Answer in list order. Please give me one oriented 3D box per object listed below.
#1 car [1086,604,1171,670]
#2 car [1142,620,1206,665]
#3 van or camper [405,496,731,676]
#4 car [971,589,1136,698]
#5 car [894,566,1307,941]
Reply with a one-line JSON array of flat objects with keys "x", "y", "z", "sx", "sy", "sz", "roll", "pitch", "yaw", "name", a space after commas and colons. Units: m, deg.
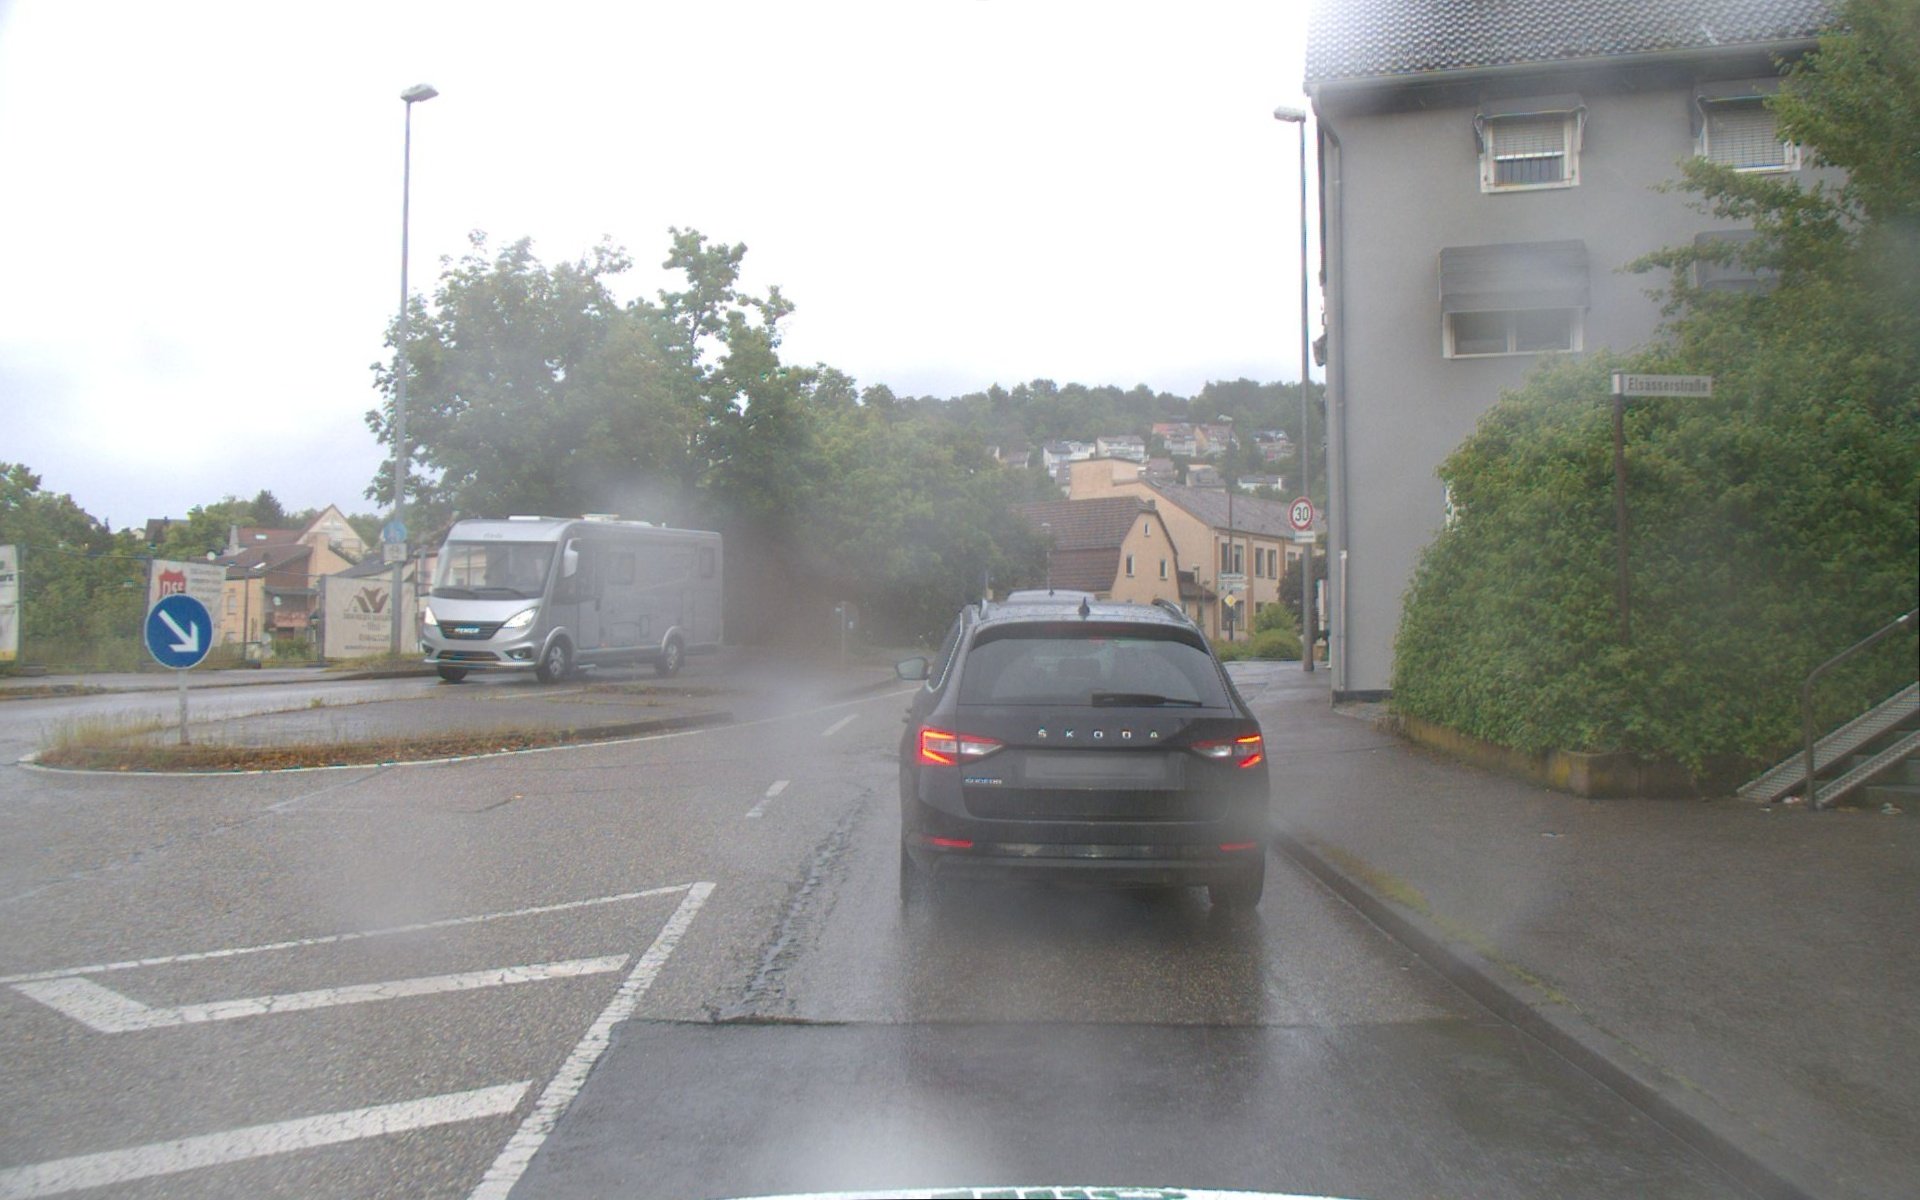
[{"x": 3.942, "y": 0.812, "z": 38.245, "sx": 1.617, "sy": 1.411, "sz": 3.923, "roll": 1, "pitch": 0, "yaw": 11, "name": "car"}, {"x": 8.136, "y": 1.594, "z": 63.068, "sx": 1.952, "sy": 1.593, "sz": 4.000, "roll": 1, "pitch": 0, "yaw": 1, "name": "car"}, {"x": -6.456, "y": -0.182, "z": 28.518, "sx": 2.317, "sy": 2.703, "sz": 7.024, "roll": 0, "pitch": 0, "yaw": 16, "name": "van or camper"}, {"x": 1.400, "y": 0.678, "z": 23.295, "sx": 1.779, "sy": 1.384, "sz": 3.992, "roll": -1, "pitch": -3, "yaw": 11, "name": "car"}, {"x": 0.555, "y": 0.618, "z": 9.204, "sx": 1.746, "sy": 1.509, "sz": 4.246, "roll": 1, "pitch": 2, "yaw": -1, "name": "car"}]
